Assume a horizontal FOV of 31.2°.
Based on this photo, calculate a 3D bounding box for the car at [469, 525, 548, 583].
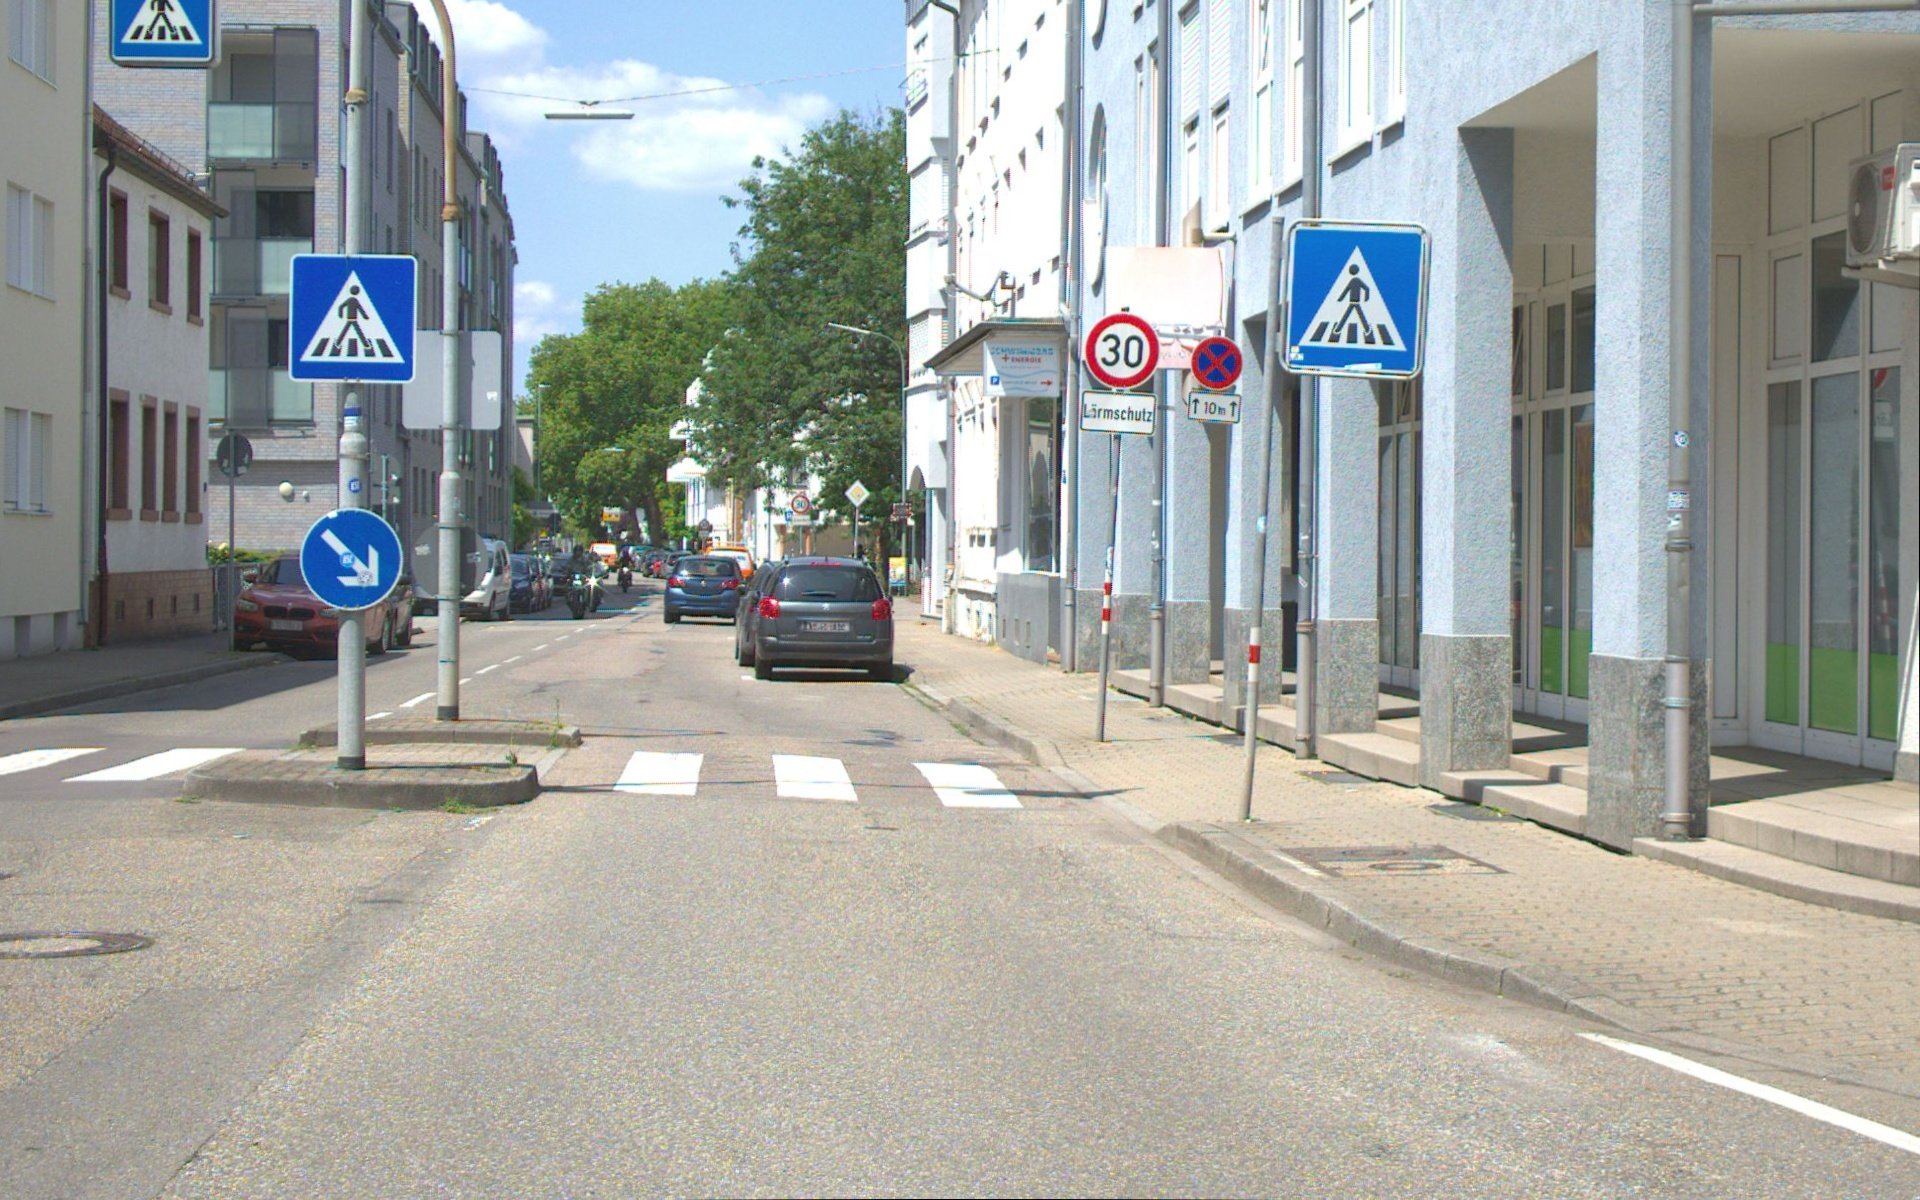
[{"bbox_3d":[-11.876,-1.221,90.640,1.723,1.451,4.006,2,1,-3],"label":"car"}]

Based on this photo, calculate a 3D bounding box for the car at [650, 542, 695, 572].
[{"bbox_3d":[-15.978,-2.403,190.603,1.993,1.612,4.001,1,1,-12],"label":"car"}]

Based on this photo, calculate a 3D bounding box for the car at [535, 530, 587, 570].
[{"bbox_3d":[-14.515,-1.828,125.112,1.732,1.437,4.001,0,1,-5],"label":"car"}]

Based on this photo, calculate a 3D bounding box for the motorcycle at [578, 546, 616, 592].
[{"bbox_3d":[-9.667,-0.827,91.622,0.896,1.172,2.208,1,1,-4],"label":"motorcycle"}]

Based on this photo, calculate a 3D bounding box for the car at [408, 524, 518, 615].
[{"bbox_3d":[-11.113,-0.707,77.083,1.757,1.885,4.337,3,1,0],"label":"car"}]

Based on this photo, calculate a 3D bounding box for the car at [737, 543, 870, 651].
[{"bbox_3d":[-2.246,-0.077,48.385,1.729,1.415,4.546,1,1,-4],"label":"car"}]

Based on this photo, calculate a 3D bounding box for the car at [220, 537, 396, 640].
[{"bbox_3d":[-9.377,-0.201,49.714,1.834,1.412,4.290,1,1,-2],"label":"car"}]

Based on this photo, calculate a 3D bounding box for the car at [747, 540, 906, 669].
[{"bbox_3d":[-1.705,0.023,42.680,1.709,1.503,4.001,0,1,-6],"label":"car"}]

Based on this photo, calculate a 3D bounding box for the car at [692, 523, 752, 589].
[{"bbox_3d":[-7.424,-1.393,107.402,1.839,2.006,4.001,1,2,-4],"label":"car"}]

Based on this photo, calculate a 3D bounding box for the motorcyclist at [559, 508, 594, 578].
[{"bbox_3d":[-9.021,-1.348,80.910,0.713,1.628,1.069,0,1,0],"label":"motorcyclist"}]

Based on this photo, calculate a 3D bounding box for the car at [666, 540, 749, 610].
[{"bbox_3d":[-5.408,-0.560,73.816,1.715,1.397,4.001,0,2,-4],"label":"car"}]

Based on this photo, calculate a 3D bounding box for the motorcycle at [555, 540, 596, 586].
[{"bbox_3d":[-9.042,-0.880,80.935,0.713,1.025,2.239,0,2,0],"label":"motorcycle"}]

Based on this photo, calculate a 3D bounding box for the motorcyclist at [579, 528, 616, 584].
[{"bbox_3d":[-9.661,-1.173,91.579,0.916,1.475,1.203,1,1,-4],"label":"motorcyclist"}]
